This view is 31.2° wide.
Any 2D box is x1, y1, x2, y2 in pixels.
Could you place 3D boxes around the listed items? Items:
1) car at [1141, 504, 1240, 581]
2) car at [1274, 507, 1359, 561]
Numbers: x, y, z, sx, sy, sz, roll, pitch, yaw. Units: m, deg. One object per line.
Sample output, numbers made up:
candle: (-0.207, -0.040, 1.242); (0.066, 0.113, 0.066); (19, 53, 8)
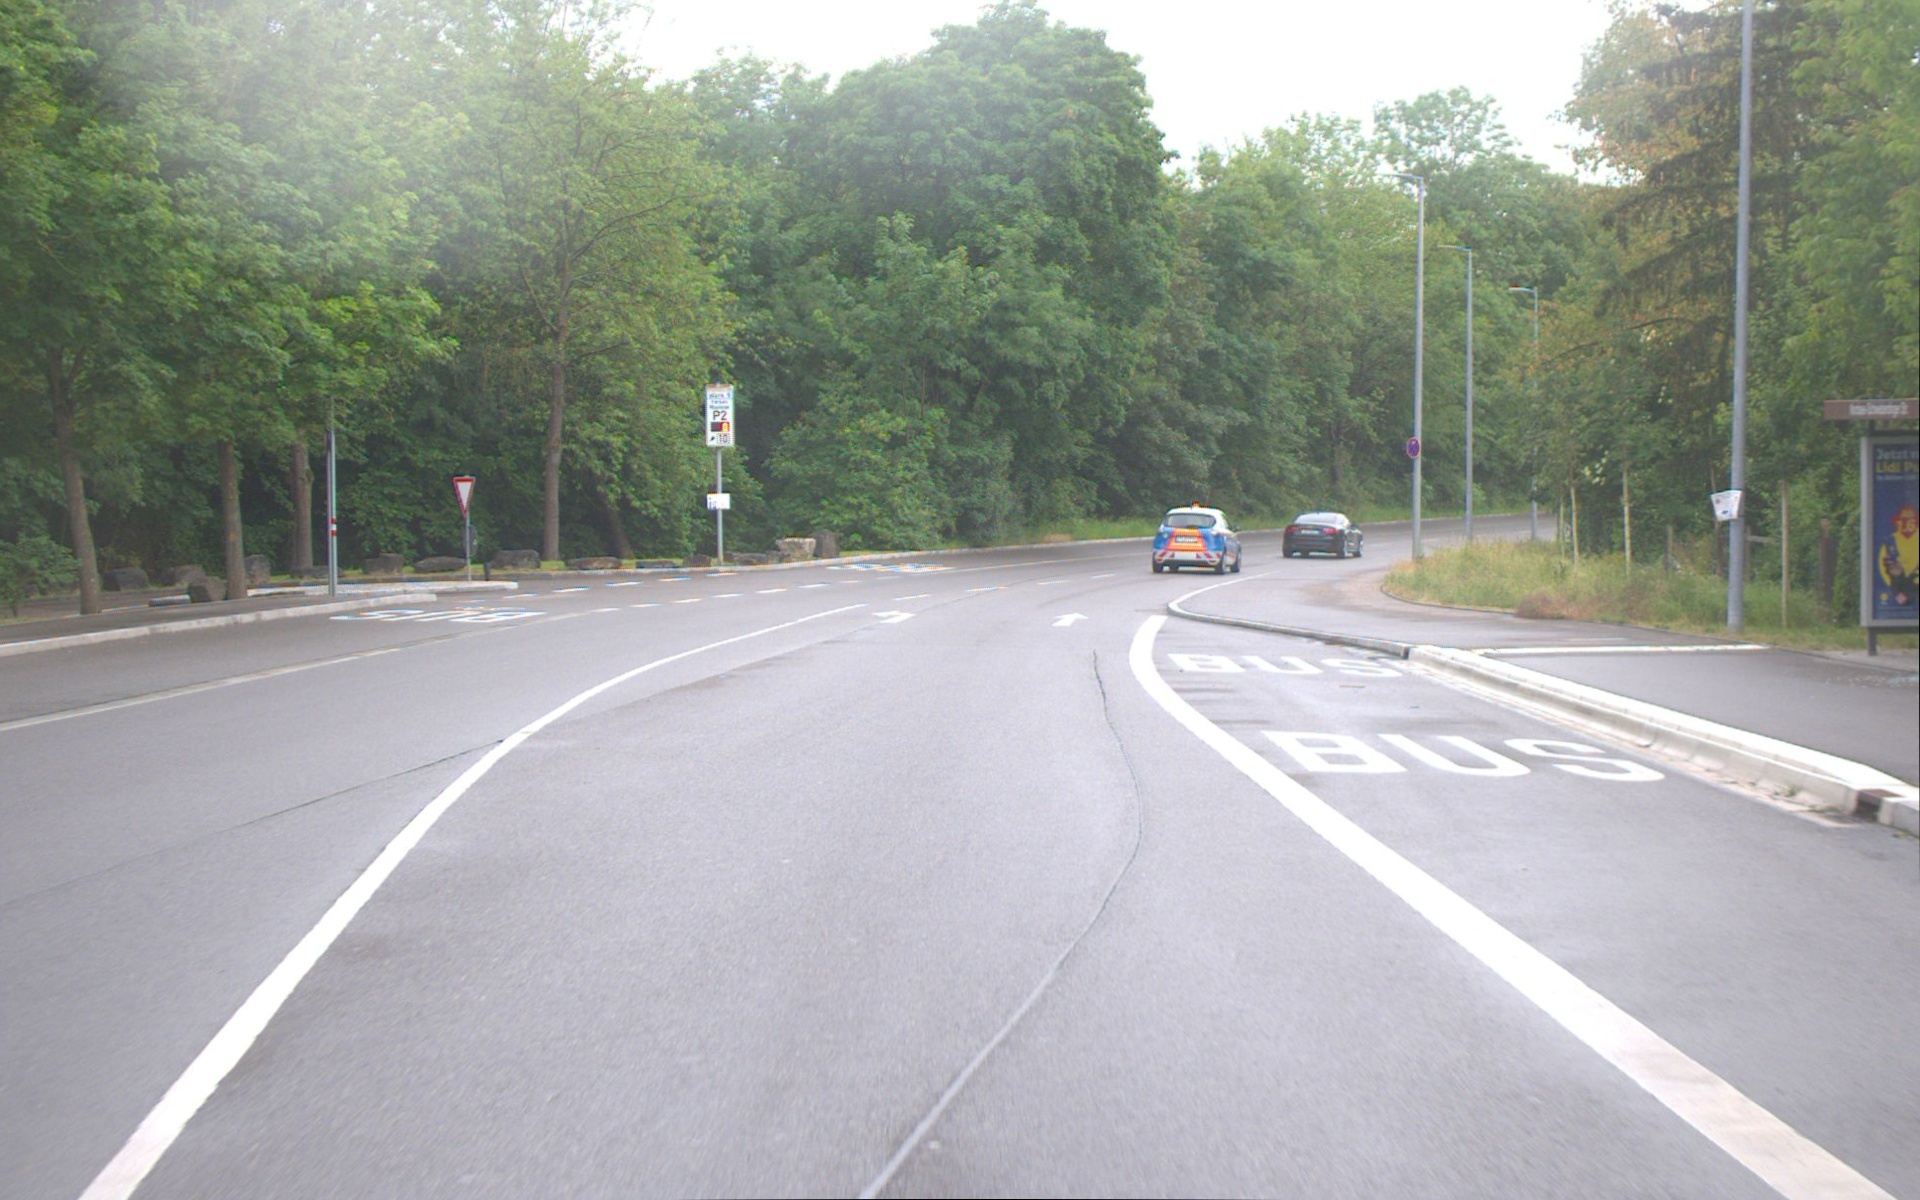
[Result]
car: (5.558, -1.393, 82.427); (1.994, 1.683, 3.999); (-1, 3, 9)
car: (10.653, -1.985, 102.538); (1.928, 1.481, 3.797); (0, 3, 15)
